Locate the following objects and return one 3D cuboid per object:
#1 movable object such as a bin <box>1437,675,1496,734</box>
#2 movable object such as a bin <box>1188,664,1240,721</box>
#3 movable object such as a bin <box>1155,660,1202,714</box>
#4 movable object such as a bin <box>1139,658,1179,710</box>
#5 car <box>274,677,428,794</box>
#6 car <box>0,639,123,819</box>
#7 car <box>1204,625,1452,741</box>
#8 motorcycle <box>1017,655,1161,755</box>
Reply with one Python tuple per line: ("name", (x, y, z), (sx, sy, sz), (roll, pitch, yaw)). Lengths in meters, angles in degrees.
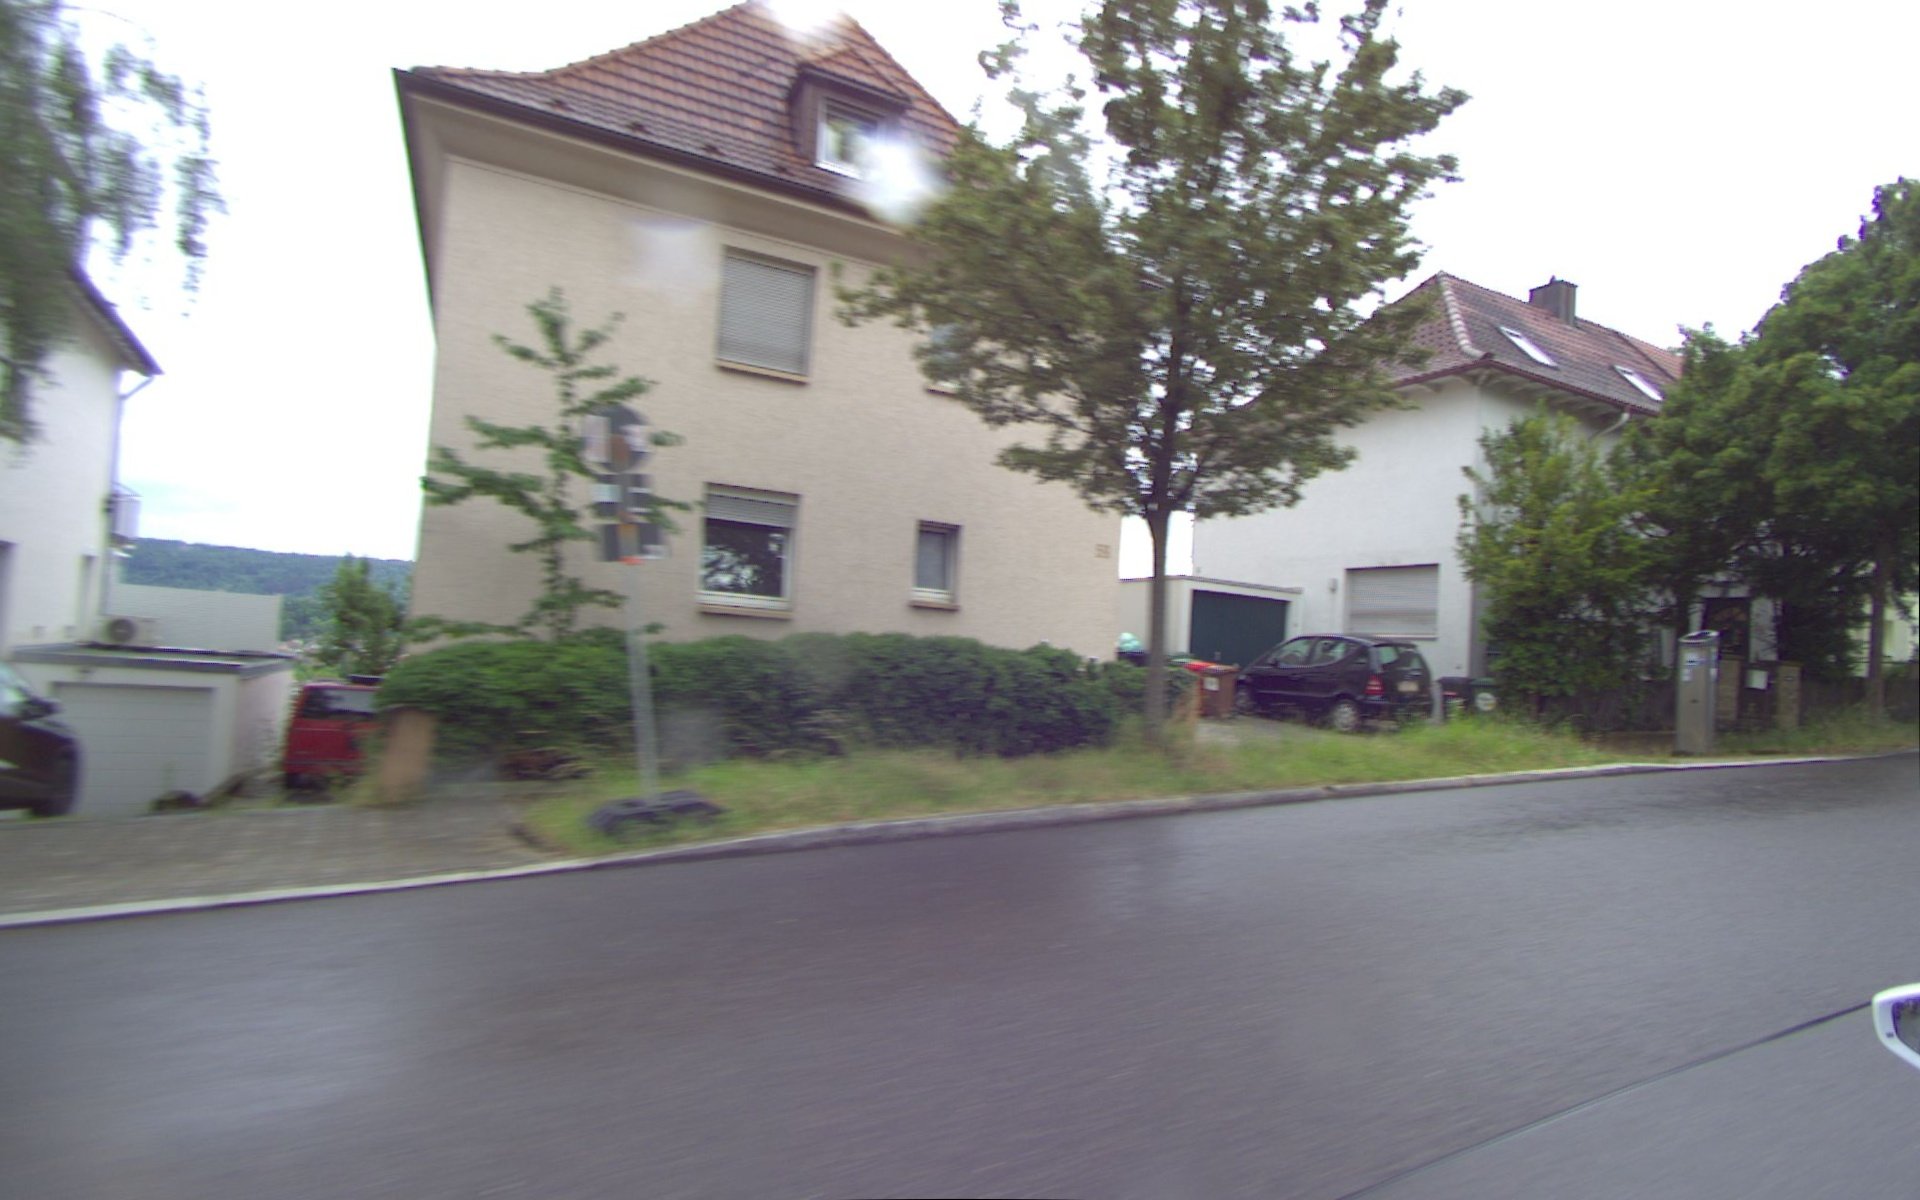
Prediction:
("movable object such as a bin", (8.665, 1.780, 17.183), (0.584, 0.933, 0.667), (1, 0, -24))
("movable object such as a bin", (4.486, 1.627, 17.775), (0.584, 0.933, 0.684), (1, 0, -24))
("movable object such as a bin", (4.036, 1.597, 18.579), (0.584, 0.933, 0.612), (1, 0, -24))
("movable object such as a bin", (3.785, 1.596, 19.127), (0.548, 0.933, 0.507), (1, 0, -24))
("car", (-11.275, 2.422, 18.893), (1.887, 1.902, 4.230), (1, -5, -24))
("car", (-9.347, 1.176, 8.824), (1.887, 1.523, 4.233), (2, -9, -24))
("car", (6.312, 1.357, 17.715), (1.838, 1.563, 3.929), (2, 2, -24))
("motorcycle", (1.825, 1.435, 14.077), (1.945, 1.265, 0.728), (1, 0, -30))
